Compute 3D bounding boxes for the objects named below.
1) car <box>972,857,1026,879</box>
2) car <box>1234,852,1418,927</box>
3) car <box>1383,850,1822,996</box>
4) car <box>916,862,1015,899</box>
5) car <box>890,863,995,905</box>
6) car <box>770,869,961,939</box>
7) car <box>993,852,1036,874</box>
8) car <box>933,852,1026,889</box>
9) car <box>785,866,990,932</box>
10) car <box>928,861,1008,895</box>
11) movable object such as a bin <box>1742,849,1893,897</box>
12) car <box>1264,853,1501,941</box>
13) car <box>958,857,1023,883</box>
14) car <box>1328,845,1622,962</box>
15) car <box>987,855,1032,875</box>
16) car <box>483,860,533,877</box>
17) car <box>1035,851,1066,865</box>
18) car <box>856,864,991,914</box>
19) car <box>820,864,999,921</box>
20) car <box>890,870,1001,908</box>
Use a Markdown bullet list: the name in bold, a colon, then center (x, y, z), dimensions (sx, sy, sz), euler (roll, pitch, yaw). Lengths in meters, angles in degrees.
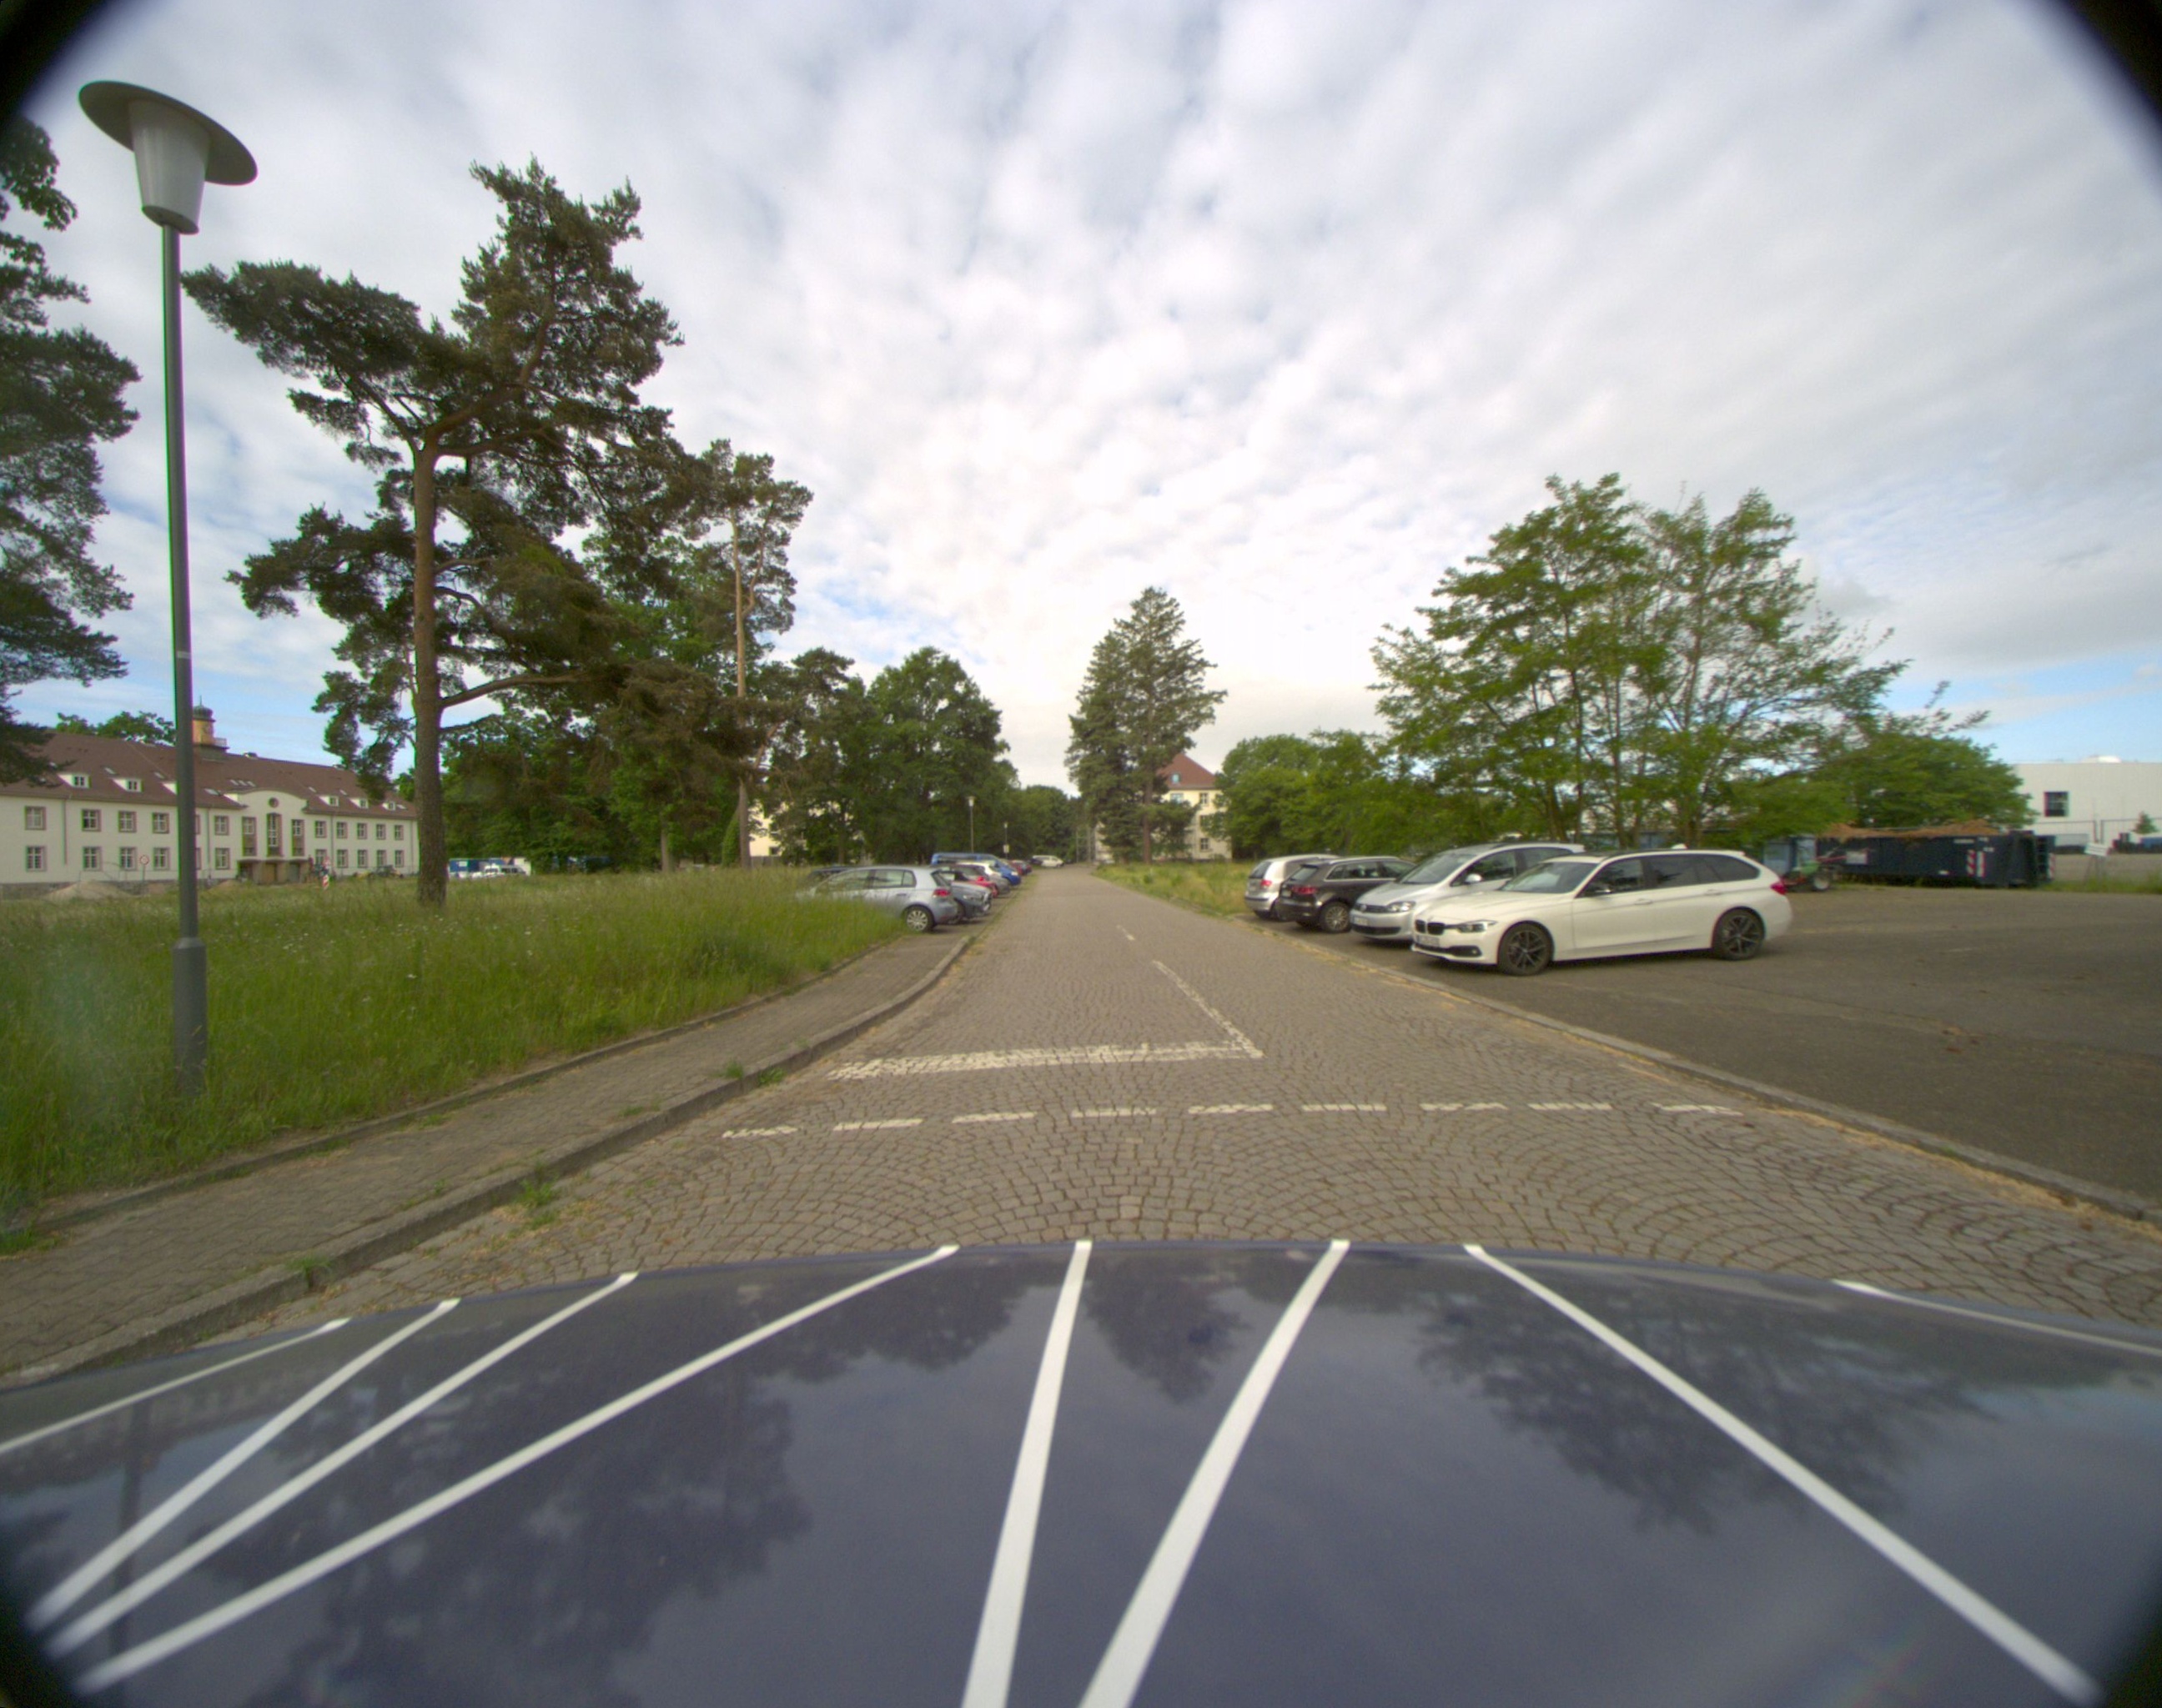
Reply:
- **car**: center (-6.434, 1.114, 59.692), dimensions (3.998, 1.521, 2.000), euler (-2, 0, -2)
- **car**: center (5.735, 0.801, 18.048), dimensions (3.689, 1.444, 1.807), euler (-4, 1, -7)
- **car**: center (6.679, 0.804, 10.004), dimensions (4.661, 1.435, 1.801), euler (-3, 0, -6)
- **car**: center (-4.834, 1.093, 32.217), dimensions (3.849, 1.448, 1.820), euler (-1, 0, 0)
- **car**: center (-5.263, 1.129, 29.311), dimensions (3.787, 1.497, 1.798), euler (-1, 0, -4)
- **car**: center (-4.565, 1.048, 16.545), dimensions (3.775, 1.418, 1.605), euler (0, 0, -6)
- **car**: center (-6.470, 0.867, 74.343), dimensions (3.997, 2.002, 2.000), euler (-1, 0, -1)
- **car**: center (-5.344, 0.853, 40.449), dimensions (4.750, 1.928, 1.999), euler (0, 0, -3)
- **car**: center (-4.733, 1.085, 19.175), dimensions (4.771, 1.474, 1.761), euler (-1, 0, -5)
- **car**: center (-5.163, 1.095, 35.030), dimensions (3.409, 1.443, 1.637), euler (-1, 0, -1)
- **movable object such as a bin**: center (18.976, 0.469, 19.659), dimensions (2.397, 1.154, 1.500), euler (-1, 0, 3)
- **car**: center (5.956, 0.811, 15.305), dimensions (3.998, 1.419, 1.750), euler (-4, 1, -3)
- **car**: center (-5.848, 1.038, 49.377), dimensions (3.998, 1.601, 2.000), euler (-1, 0, -2)
- **car**: center (6.435, 0.751, 12.626), dimensions (3.999, 1.538, 1.723), euler (-3, 1, -7)
- **car**: center (-6.560, 0.971, 69.941), dimensions (4.008, 1.752, 2.000), euler (-1, 0, -1)
- **car**: center (-71.188, 1.810, 94.558), dimensions (2.154, 2.002, 5.224), euler (-1, 0, 1)
- **car**: center (-4.910, 0.662, 123.296), dimensions (5.031, 2.164, 2.000), euler (-1, 0, 0)
- **car**: center (-4.959, 1.093, 24.346), dimensions (3.972, 1.443, 1.799), euler (-1, 0, -2)
- **car**: center (-4.868, 1.095, 22.086), dimensions (4.770, 1.474, 1.812), euler (-1, 0, -2)
- **car**: center (-4.682, 1.212, 26.557), dimensions (3.600, 1.200, 1.494), euler (-1, 0, -1)
